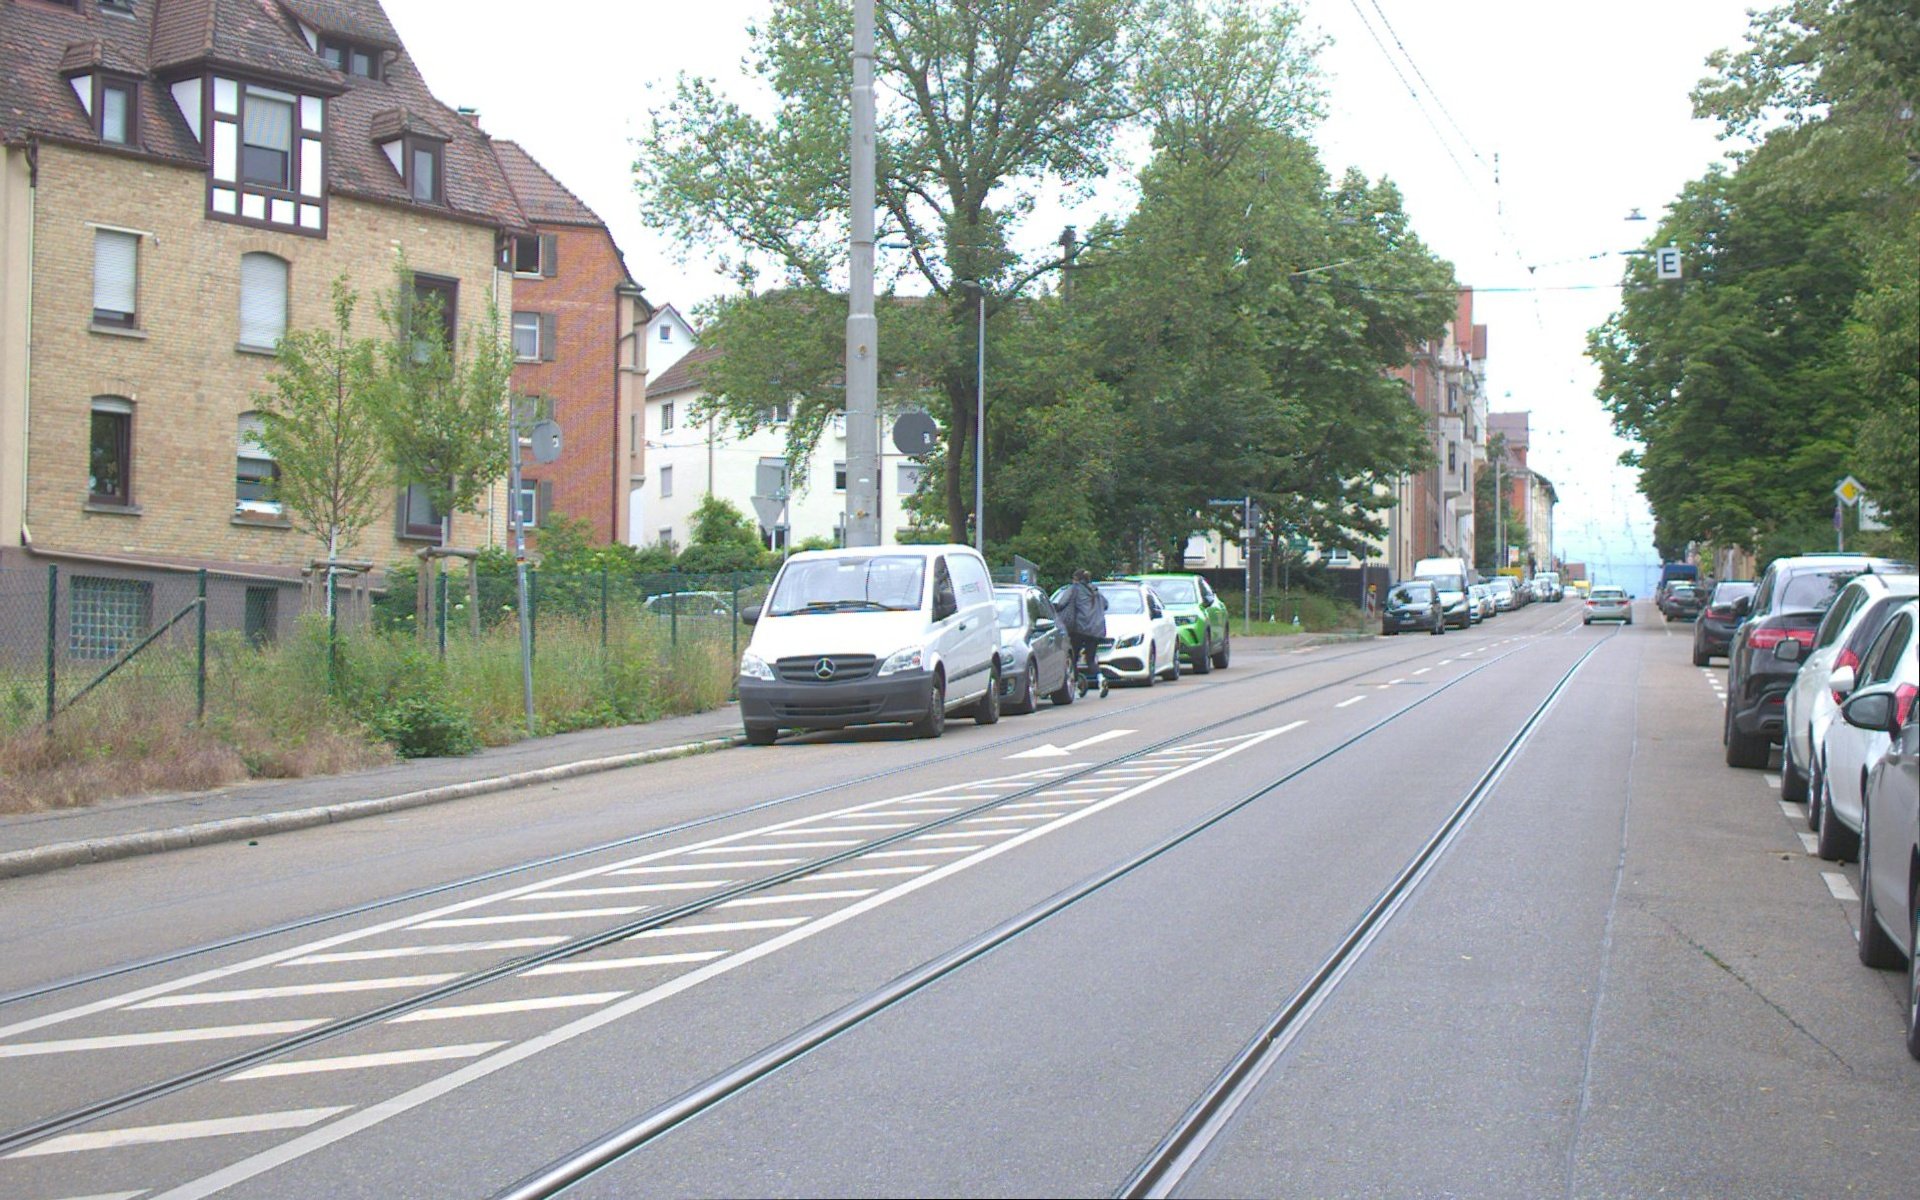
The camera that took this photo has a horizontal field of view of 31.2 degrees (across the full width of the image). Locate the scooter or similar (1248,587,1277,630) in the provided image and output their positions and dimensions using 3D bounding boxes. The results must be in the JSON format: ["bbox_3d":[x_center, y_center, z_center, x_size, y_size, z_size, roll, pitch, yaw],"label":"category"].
[{"bbox_3d":[9.590,0.271,108.978,0.691,1.334,1.638,1,0,13],"label":"scooter or similar"}]

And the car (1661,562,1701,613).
[{"bbox_3d":[37.245,-0.631,177.513,1.994,2.566,4.702,0,-1,12],"label":"car"}]

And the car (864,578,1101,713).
[{"bbox_3d":[0.333,0.487,39.843,1.897,1.428,4.509,-1,0,11],"label":"car"}]

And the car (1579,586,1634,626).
[{"bbox_3d":[24.895,0.236,132.306,1.994,1.493,4.310,1,0,11],"label":"car"}]

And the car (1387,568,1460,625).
[{"bbox_3d":[15.253,-0.095,112.906,1.995,1.802,3.997,1,0,13],"label":"car"}]

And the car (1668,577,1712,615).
[{"bbox_3d":[33.879,-0.171,159.525,1.994,1.711,3.998,0,0,12],"label":"car"}]

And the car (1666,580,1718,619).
[{"bbox_3d":[29.703,-0.008,139.495,1.995,1.525,4.309,1,0,13],"label":"car"}]

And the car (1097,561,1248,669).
[{"bbox_3d":[3.329,0.216,53.230,1.724,1.574,4.178,-1,0,12],"label":"car"}]

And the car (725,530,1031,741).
[{"bbox_3d":[-0.717,0.350,34.230,2.036,1.875,4.883,-2,-1,10],"label":"car"}]

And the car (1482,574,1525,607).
[{"bbox_3d":[26.891,-0.457,170.033,1.925,1.596,3.998,1,0,12],"label":"car"}]

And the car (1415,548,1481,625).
[{"bbox_3d":[18.076,-0.484,127.115,2.231,2.755,5.797,1,0,9],"label":"car"}]

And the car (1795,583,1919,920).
[{"bbox_3d":[5.282,0.715,17.566,1.630,1.511,4.062,3,1,10],"label":"car"}]

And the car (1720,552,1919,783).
[{"bbox_3d":[7.270,0.492,28.300,1.878,1.672,5.060,2,1,12],"label":"car"}]

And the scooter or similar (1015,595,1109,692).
[{"bbox_3d":[1.271,0.543,42.933,0.805,1.192,0.839,1,0,-36],"label":"scooter or similar"}]

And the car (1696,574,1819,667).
[{"bbox_3d":[13.446,0.336,58.150,1.829,1.425,4.845,2,0,11],"label":"car"}]

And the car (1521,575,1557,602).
[{"bbox_3d":[35.138,-0.684,208.670,1.994,1.596,3.998,1,0,11],"label":"car"}]

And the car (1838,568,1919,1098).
[{"bbox_3d":[4.123,0.695,12.136,1.735,1.570,4.362,1,0,11],"label":"car"}]

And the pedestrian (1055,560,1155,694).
[{"bbox_3d":[1.780,0.332,42.257,0.805,1.623,0.916,1,-1,-36],"label":"pedestrian"}]

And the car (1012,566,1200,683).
[{"bbox_3d":[2.097,0.324,47.997,1.886,1.521,4.661,-1,0,11],"label":"car"}]

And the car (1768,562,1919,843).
[{"bbox_3d":[6.306,0.626,22.347,1.727,1.626,4.086,4,1,10],"label":"car"}]

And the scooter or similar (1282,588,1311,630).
[{"bbox_3d":[10.654,0.288,108.726,0.691,1.334,1.638,1,0,13],"label":"scooter or similar"}]
